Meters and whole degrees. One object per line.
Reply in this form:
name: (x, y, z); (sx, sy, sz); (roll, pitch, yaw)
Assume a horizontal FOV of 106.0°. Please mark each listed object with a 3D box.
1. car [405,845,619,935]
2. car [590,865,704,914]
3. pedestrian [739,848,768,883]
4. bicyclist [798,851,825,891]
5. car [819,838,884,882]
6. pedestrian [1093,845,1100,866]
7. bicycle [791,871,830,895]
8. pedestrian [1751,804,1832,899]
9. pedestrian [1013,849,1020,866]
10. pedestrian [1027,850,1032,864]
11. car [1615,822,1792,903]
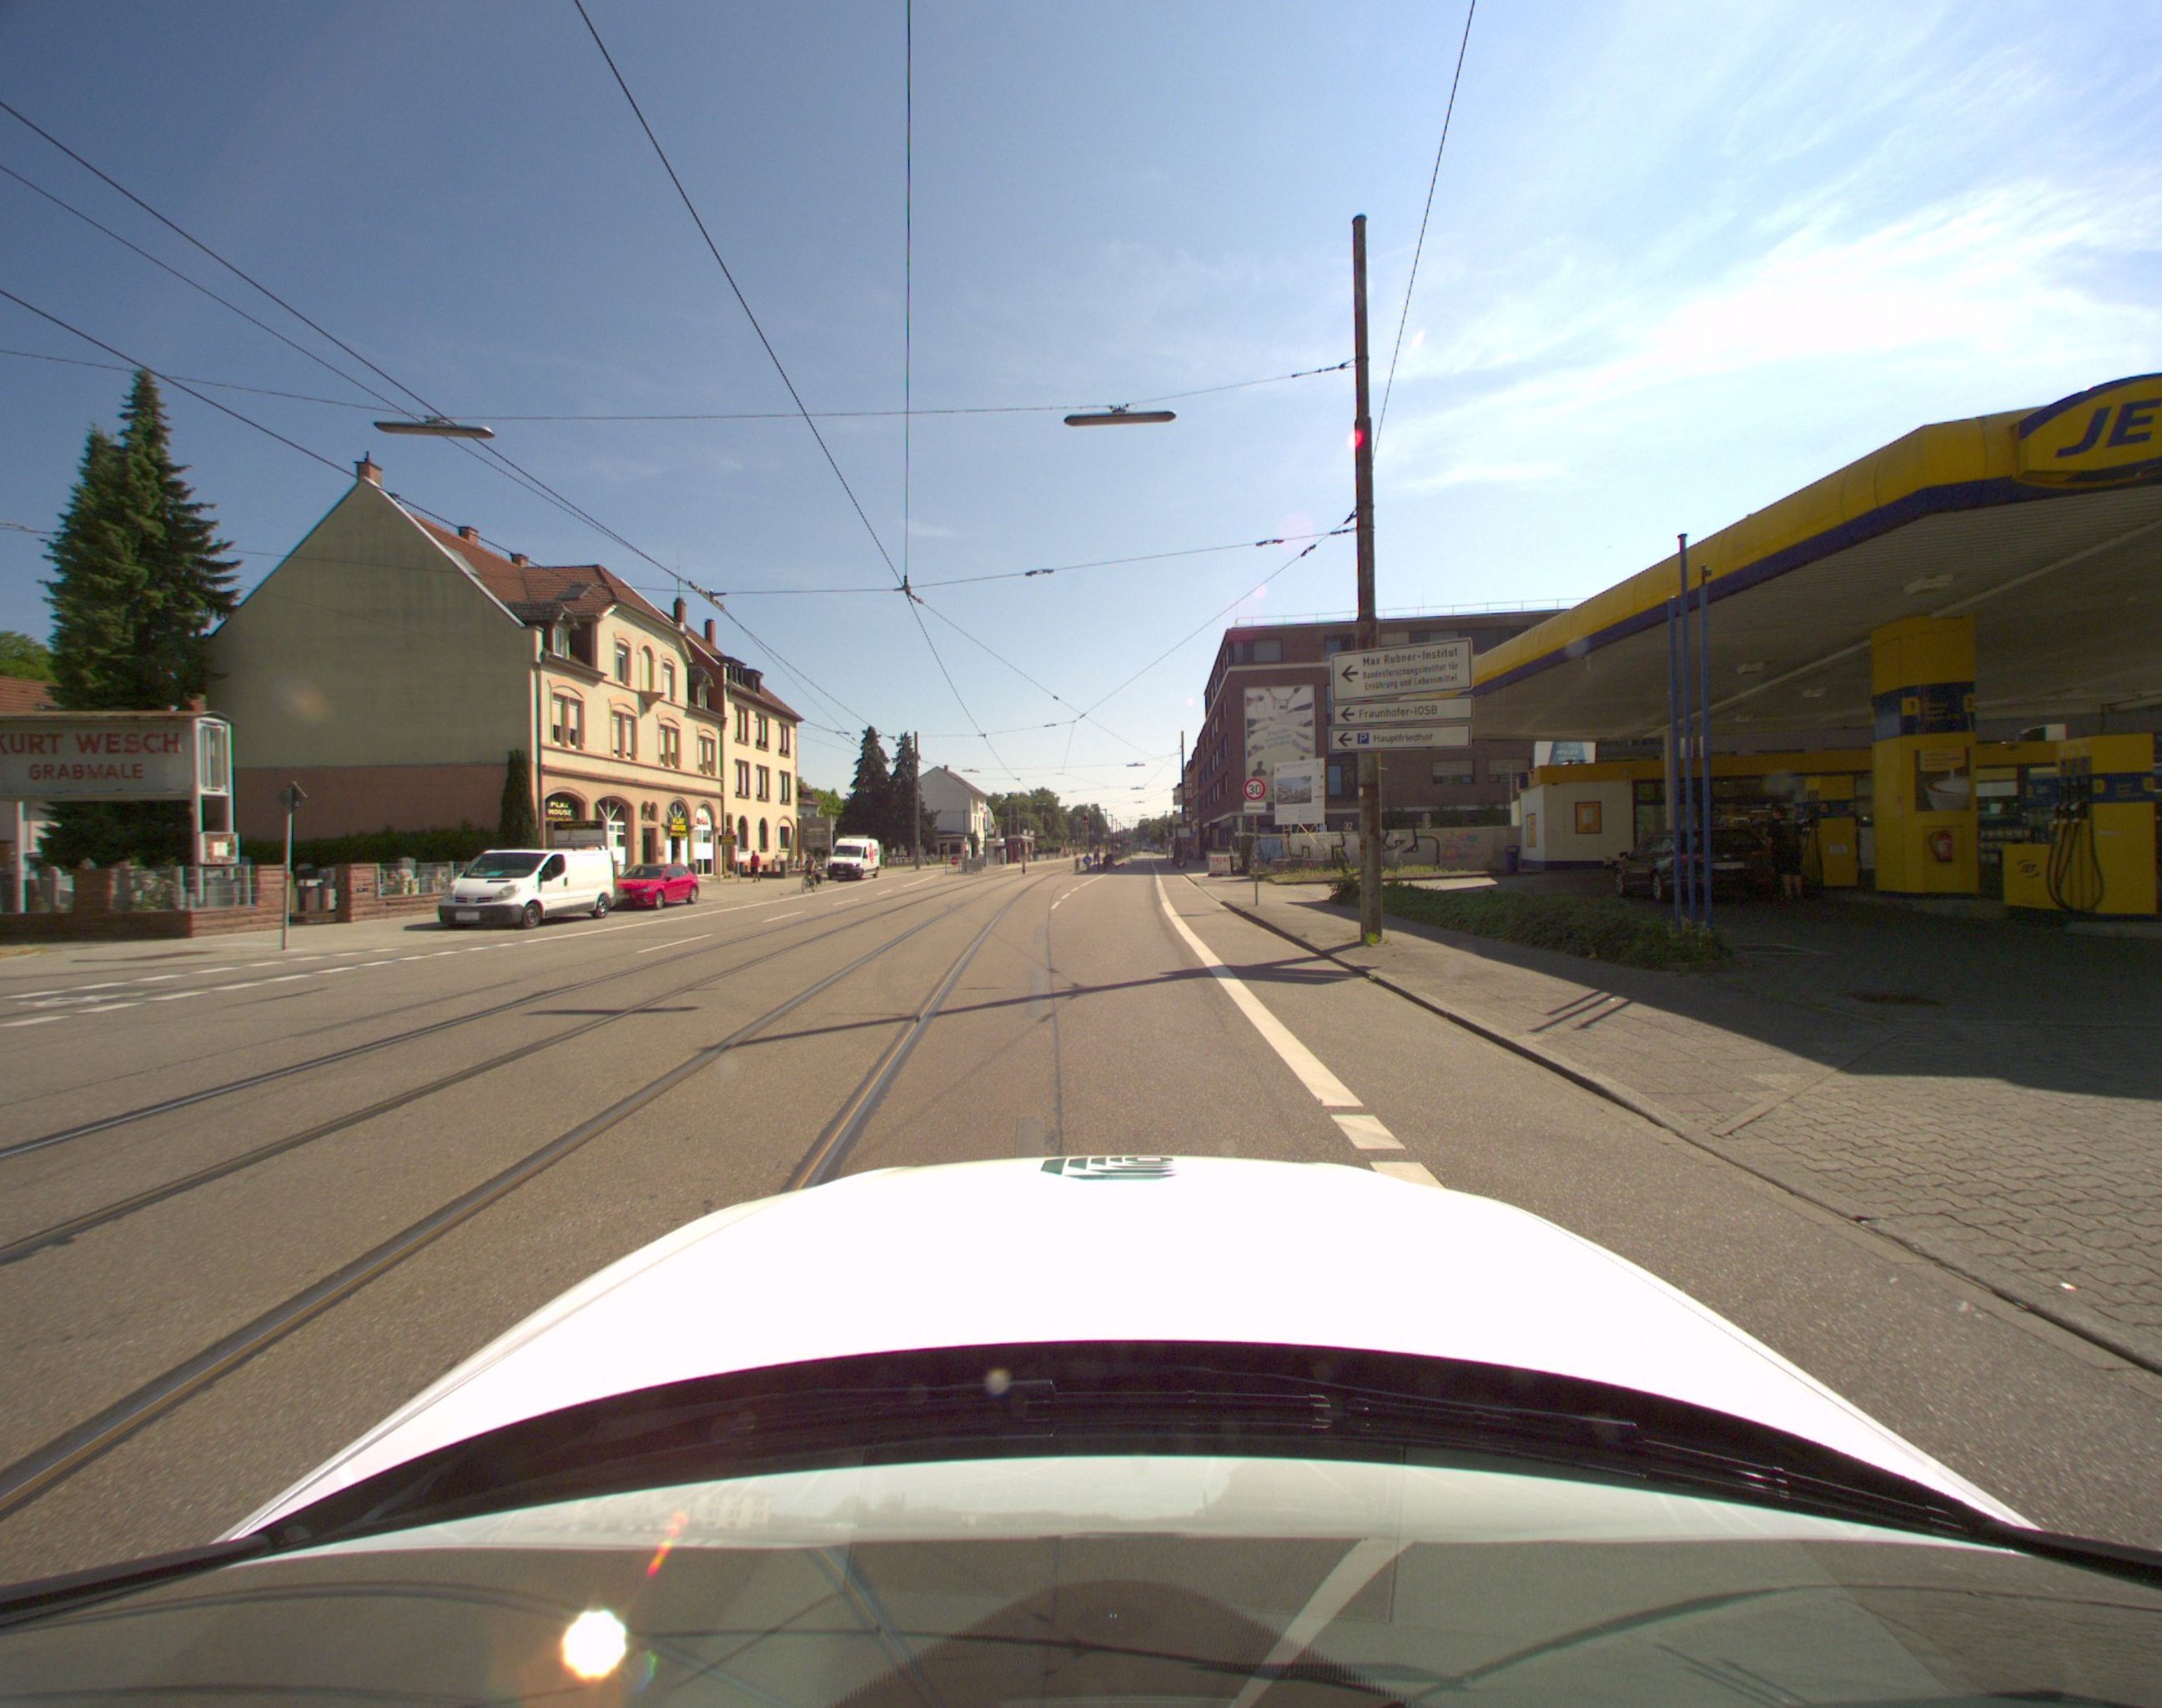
car: (-14.313, 0.815, 20.964); (2.078, 2.013, 4.906); (-1, 0, -1)
car: (-14.422, 1.120, 27.331); (1.715, 1.406, 3.998); (-2, 0, -2)
pedestrian: (-17.423, 0.624, 43.379); (0.937, 1.815, 1.132); (-1, 0, 7)
bicyclist: (-12.003, 0.749, 36.243); (0.712, 1.724, 0.991); (-2, 0, 10)
car: (-14.290, 0.343, 51.138); (2.323, 2.535, 6.503); (1, 0, -1)
pedestrian: (1.272, 0.133, 67.348); (0.554, 1.760, 0.793); (-2, 0, -1)
bicycle: (-12.020, 1.266, 36.238); (0.604, 0.984, 2.171); (-4, -1, 11)
pedestrian: (13.442, -0.048, 15.422); (0.853, 1.725, 0.745); (-2, 0, 0)
pedestrian: (-6.733, 0.344, 84.850); (0.704, 1.690, 0.416); (-1, 0, -3)
pedestrian: (-6.038, 0.338, 95.688); (0.415, 1.690, 0.705); (-1, 0, -9)
car: (12.742, 0.140, 17.004); (1.740, 1.455, 4.433); (-2, 0, 21)
